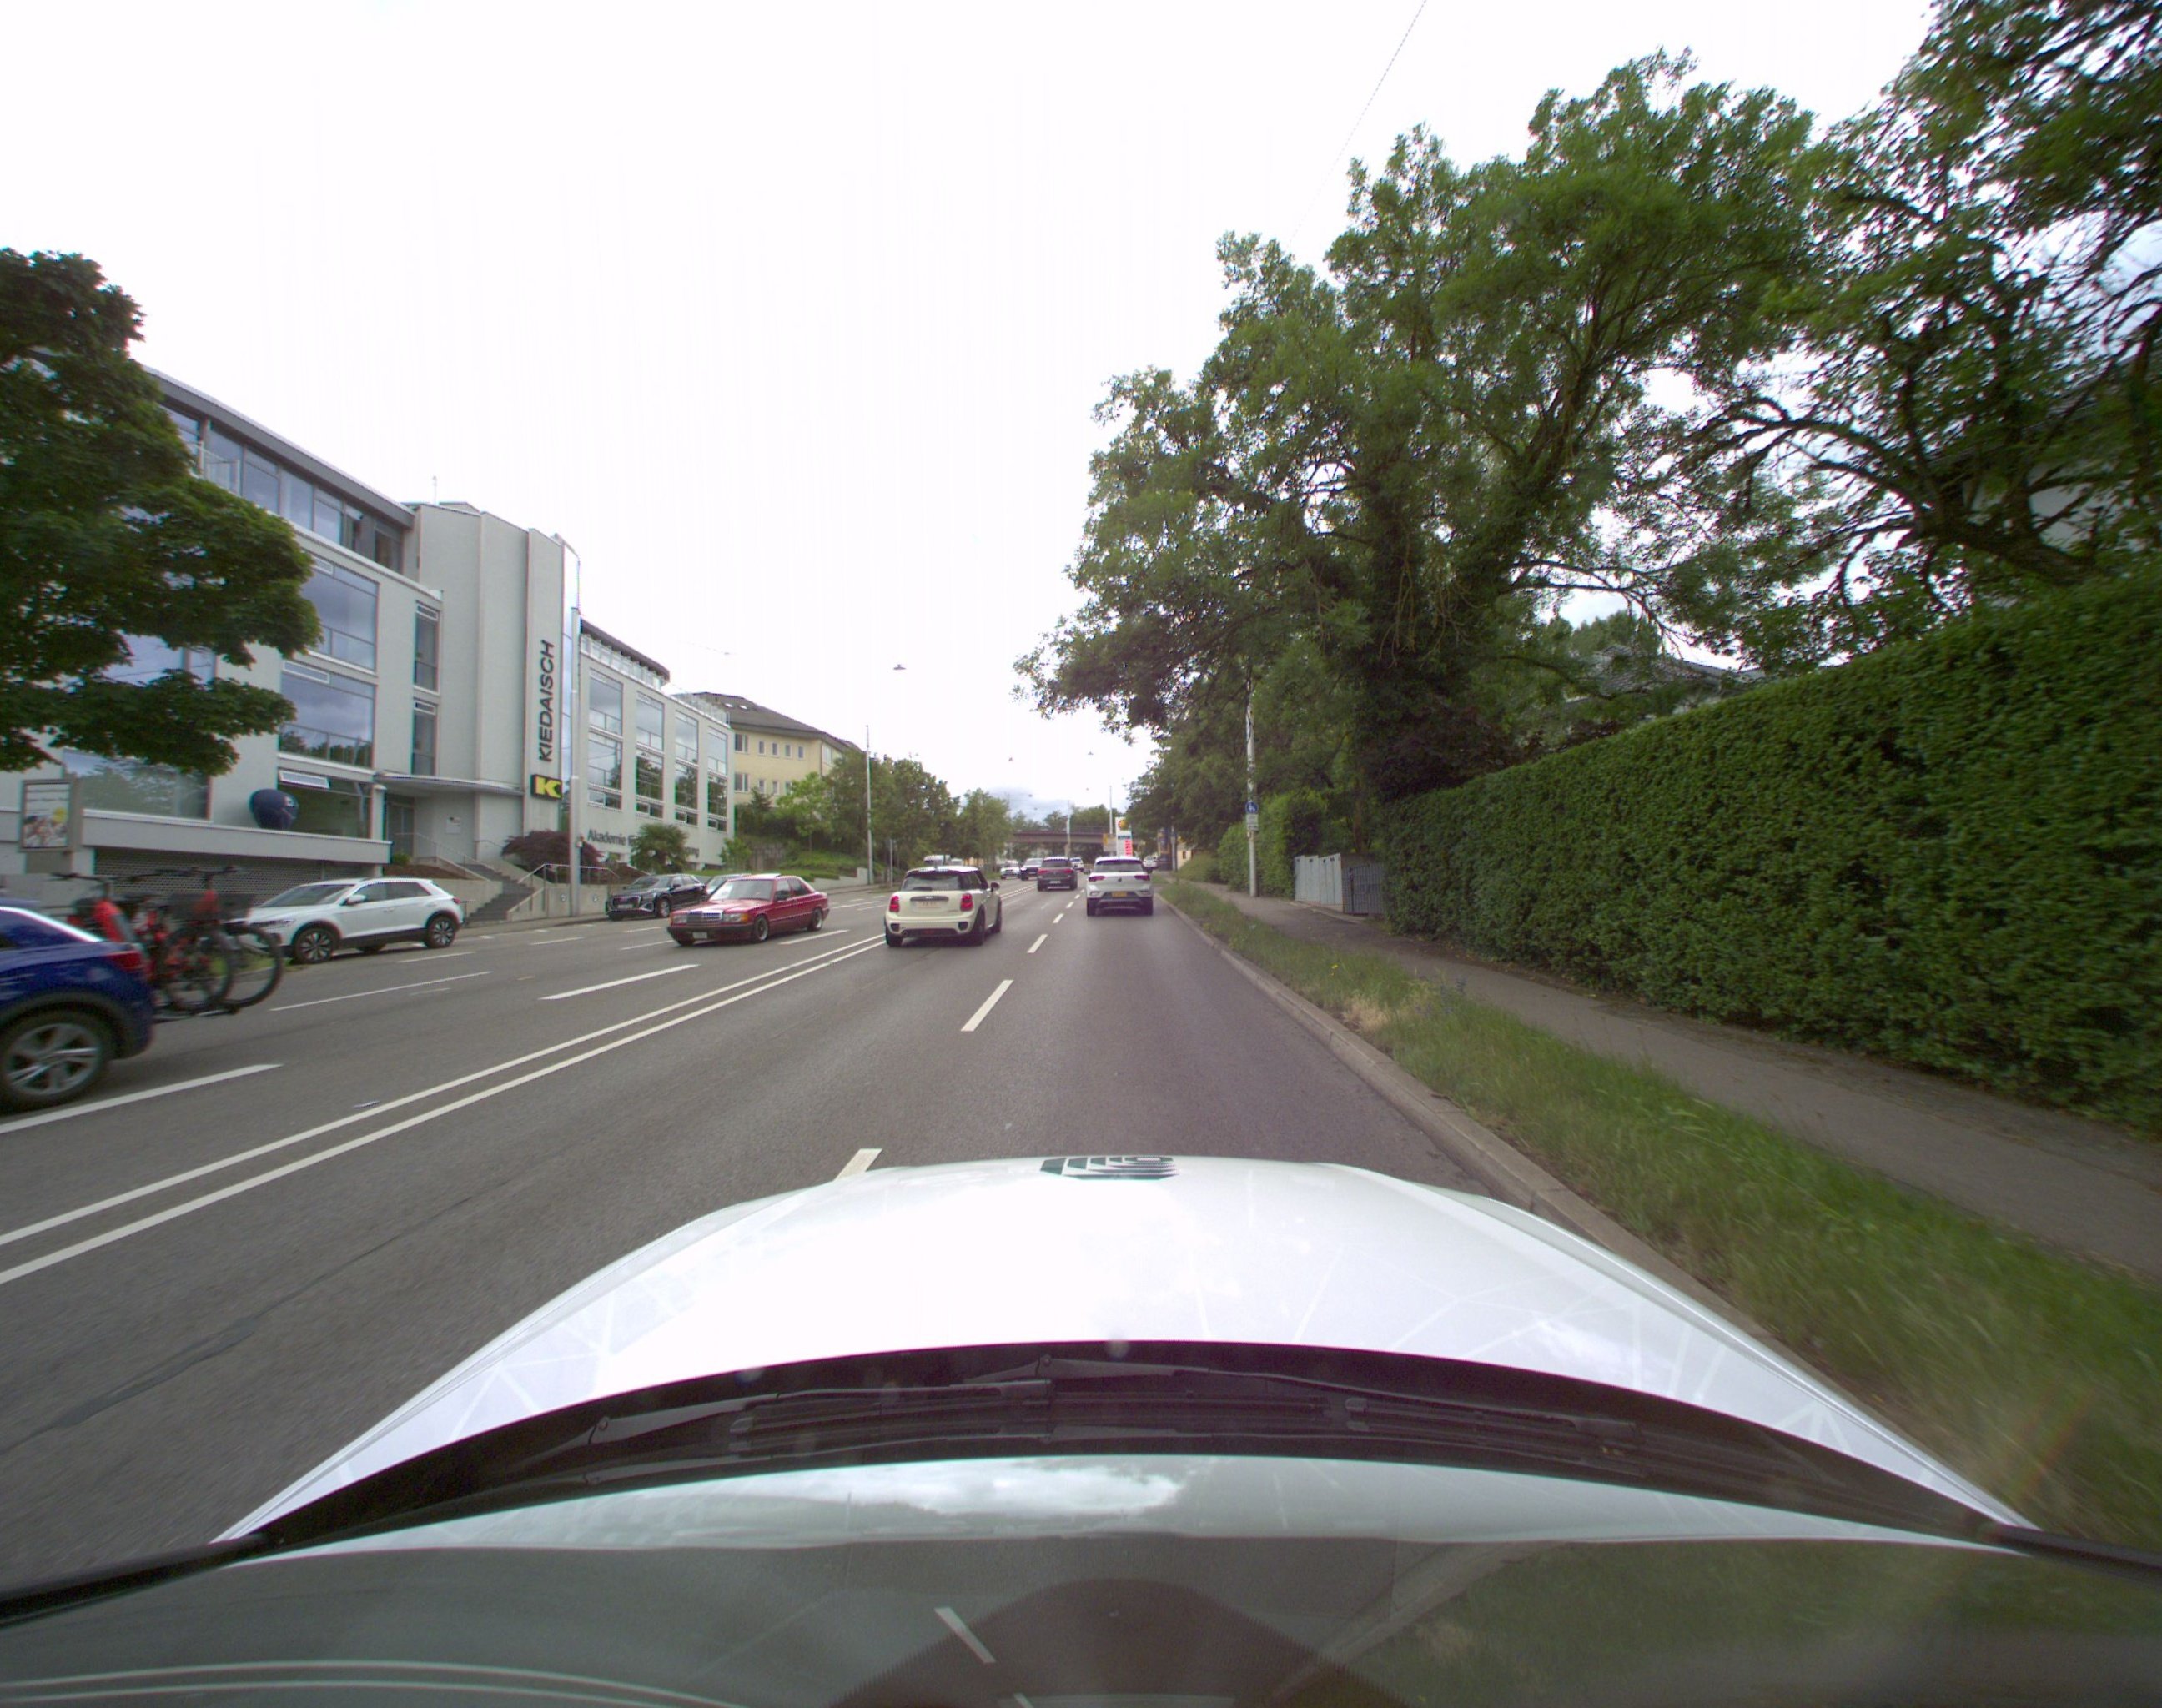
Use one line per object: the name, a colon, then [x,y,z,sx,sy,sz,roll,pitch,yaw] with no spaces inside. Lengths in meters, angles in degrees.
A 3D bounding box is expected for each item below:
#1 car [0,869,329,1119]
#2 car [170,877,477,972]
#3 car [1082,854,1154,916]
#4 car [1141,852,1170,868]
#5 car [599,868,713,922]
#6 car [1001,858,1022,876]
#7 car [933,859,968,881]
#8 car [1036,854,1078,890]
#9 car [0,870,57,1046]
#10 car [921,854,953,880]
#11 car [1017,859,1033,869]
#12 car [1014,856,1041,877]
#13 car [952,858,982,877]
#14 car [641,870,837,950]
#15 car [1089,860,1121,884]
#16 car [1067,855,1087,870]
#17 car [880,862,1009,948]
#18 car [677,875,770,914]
car: [-7.932,0.934,4.869,1.762,1.596,5.190,-1,0,5]
car: [-14.482,1.257,15.988,1.762,1.499,4.310,-1,0,5]
car: [1.007,0.803,22.662,1.805,1.539,3.691,-2,0,2]
car: [7.794,0.631,84.740,1.842,1.500,4.077,-2,0,22]
car: [-14.548,1.350,28.125,1.764,1.634,3.917,-1,0,2]
car: [-6.432,1.195,75.651,1.892,1.542,4.685,-1,0,-4]
car: [-10.112,1.218,63.526,2.063,1.656,4.690,-1,0,-1]
car: [-1.161,0.883,41.033,1.806,1.652,4.638,-2,0,2]
car: [-11.098,0.983,5.978,1.762,1.634,4.148,-1,0,5]
car: [-13.514,1.198,76.650,2.062,2.306,5.463,-1,0,0]
car: [-9.130,1.634,132.985,1.898,1.542,4.672,-1,0,-13]
car: [-4.242,0.972,65.033,1.891,1.542,4.690,-1,0,-1]
car: [-10.078,1.187,72.346,2.063,1.580,4.690,-1,0,-1]
car: [-6.939,1.062,17.187,1.733,1.352,4.852,-1,0,5]
car: [1.597,1.217,54.794,1.868,1.501,4.551,2,-1,-2]
car: [-0.457,0.971,95.195,1.856,1.652,4.626,-2,0,-6]
car: [-2.501,0.895,15.738,1.621,1.393,3.570,-2,0,4]
car: [-14.447,1.602,33.172,1.763,1.407,4.145,-1,0,3]
